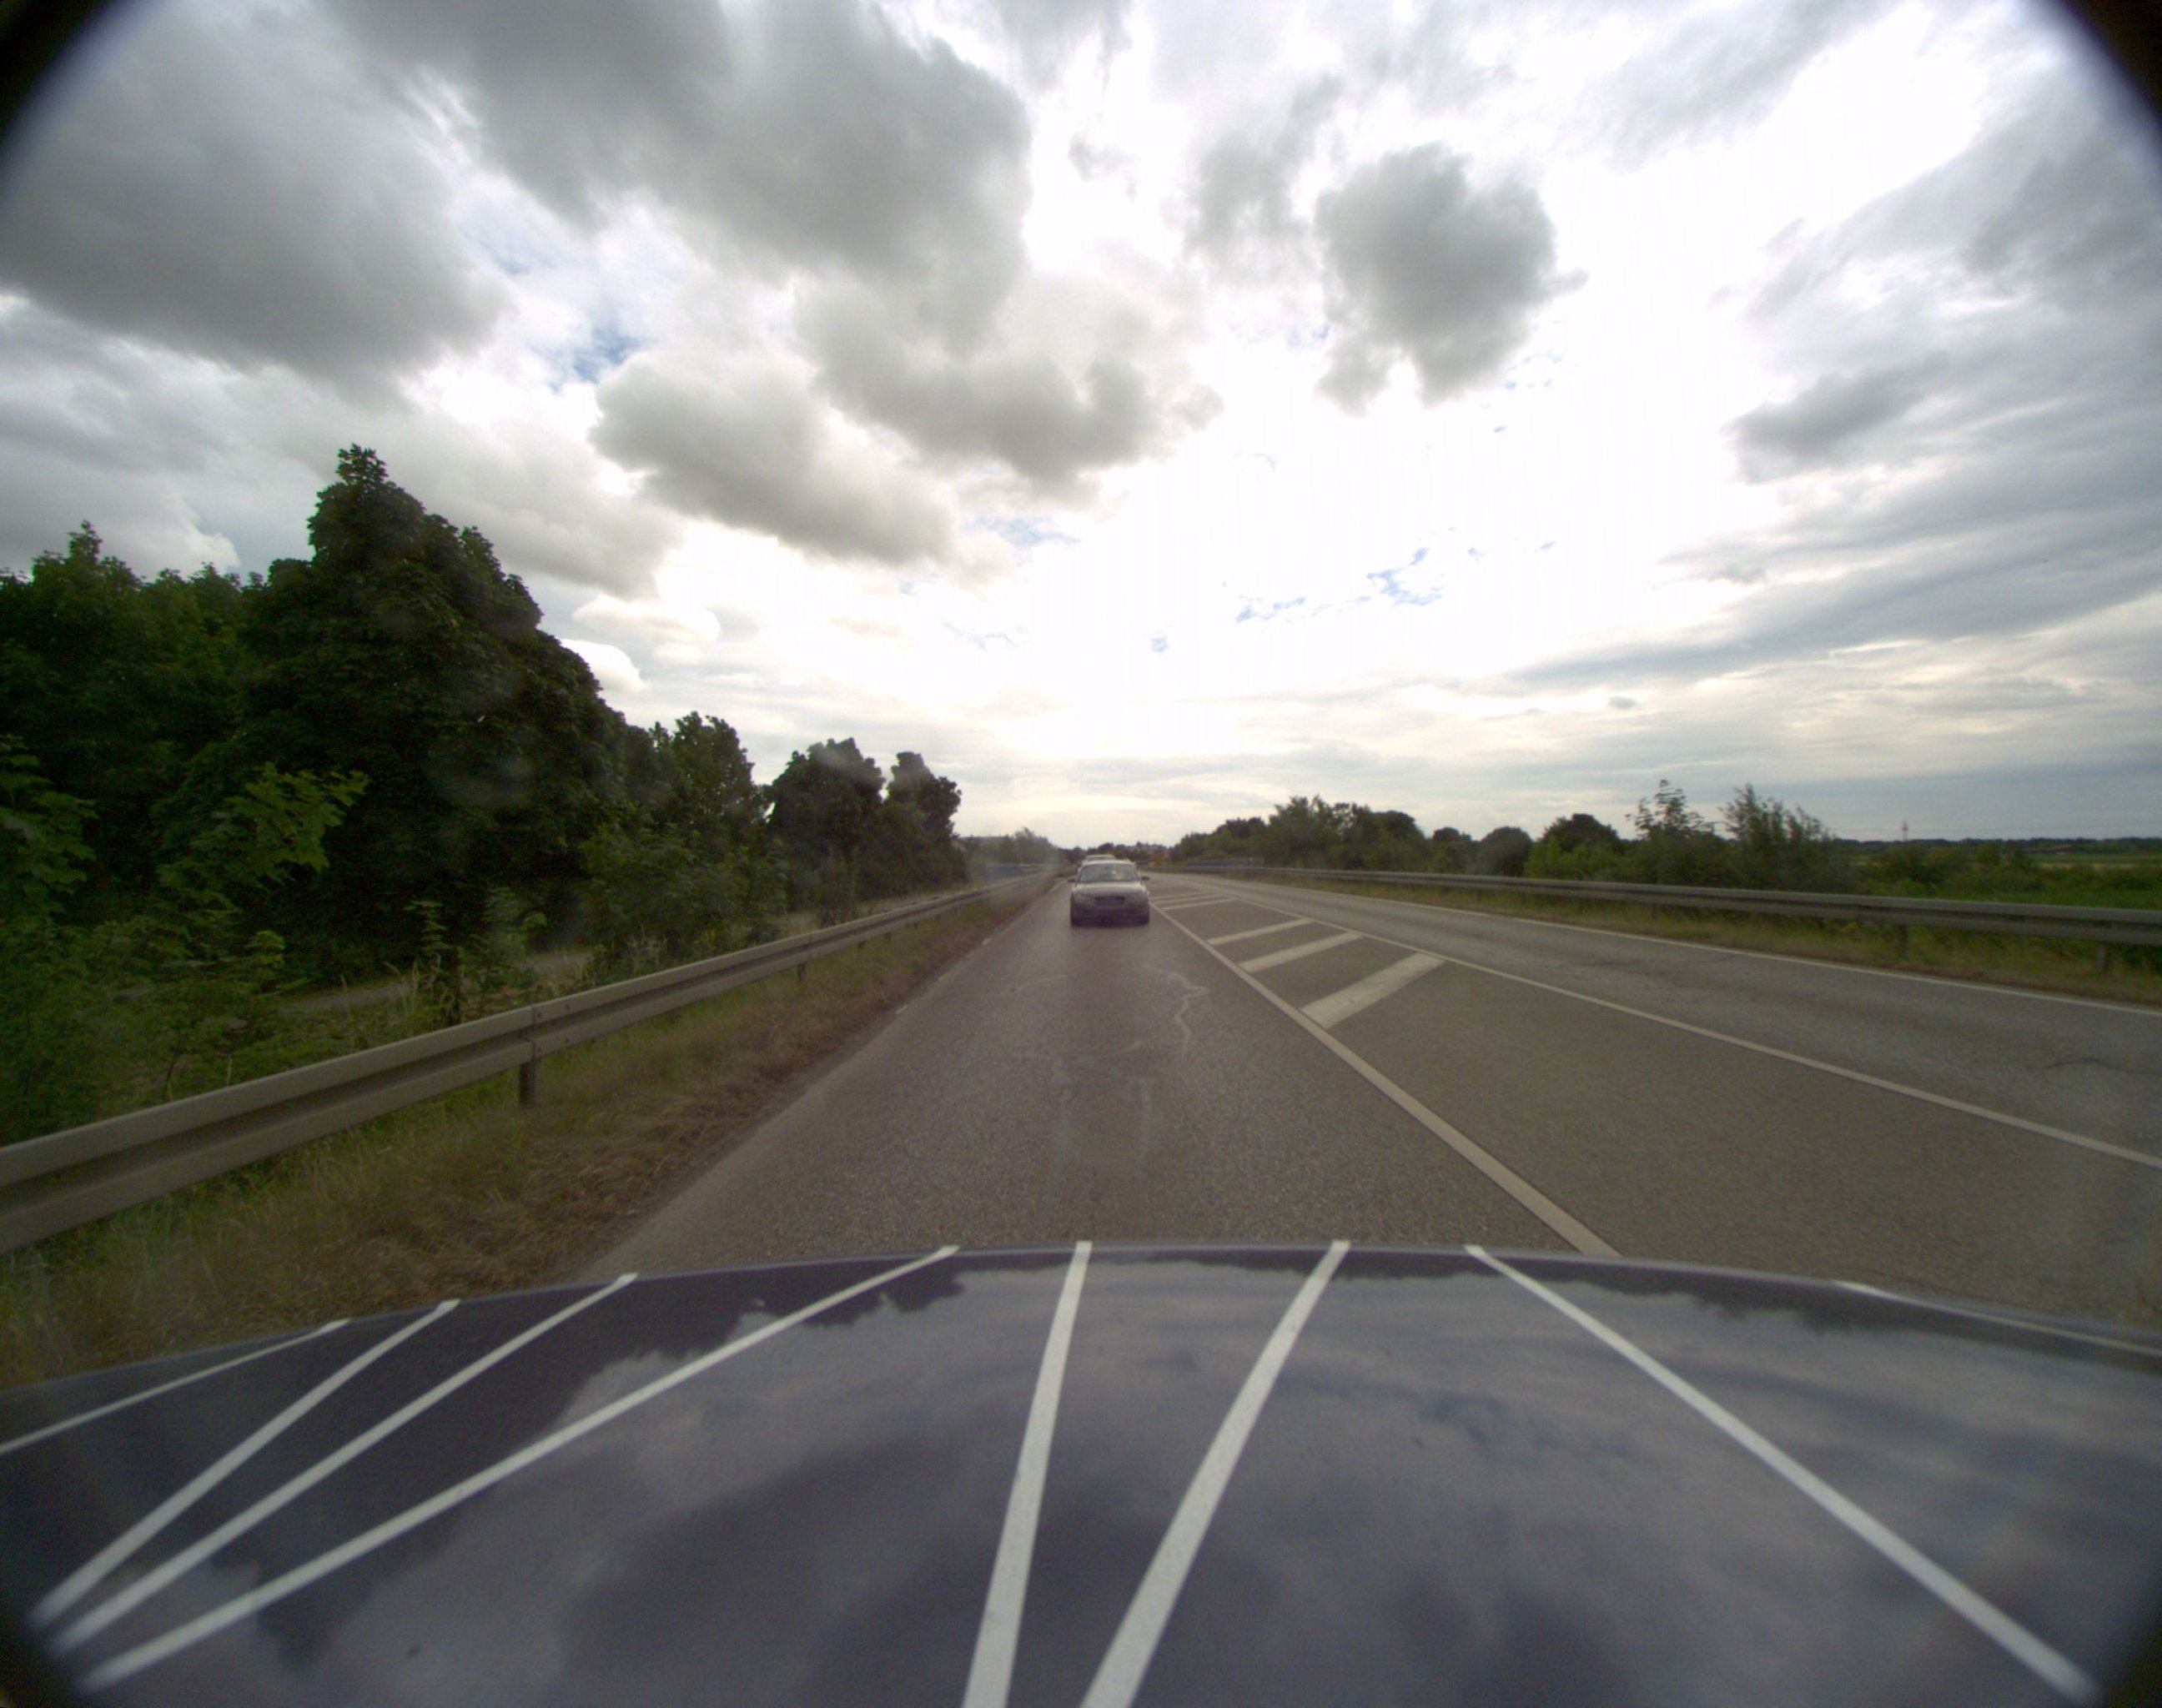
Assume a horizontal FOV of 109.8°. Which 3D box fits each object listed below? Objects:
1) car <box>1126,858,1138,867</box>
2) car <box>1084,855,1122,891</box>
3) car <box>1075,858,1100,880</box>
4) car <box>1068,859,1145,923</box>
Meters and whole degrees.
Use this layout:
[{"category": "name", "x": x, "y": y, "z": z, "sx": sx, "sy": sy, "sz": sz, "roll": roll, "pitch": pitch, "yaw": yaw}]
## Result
[{"category": "car", "x": 7.962, "y": 1.342, "z": 119.614, "sx": 1.626, "sy": 1.371, "sz": 4.512, "roll": -1, "pitch": 0, "yaw": 1}, {"category": "car", "x": 1.008, "y": 0.843, "z": 35.144, "sx": 1.602, "sy": 1.494, "sz": 3.962, "roll": -2, "pitch": 0, "yaw": 2}, {"category": "car", "x": 0.446, "y": 1.034, "z": 53.612, "sx": 1.670, "sy": 1.339, "sz": 4.000, "roll": -2, "pitch": 0, "yaw": 1}, {"category": "car", "x": 0.614, "y": 0.885, "z": 19.748, "sx": 1.768, "sy": 1.383, "sz": 3.876, "roll": -2, "pitch": 1, "yaw": 0}]
